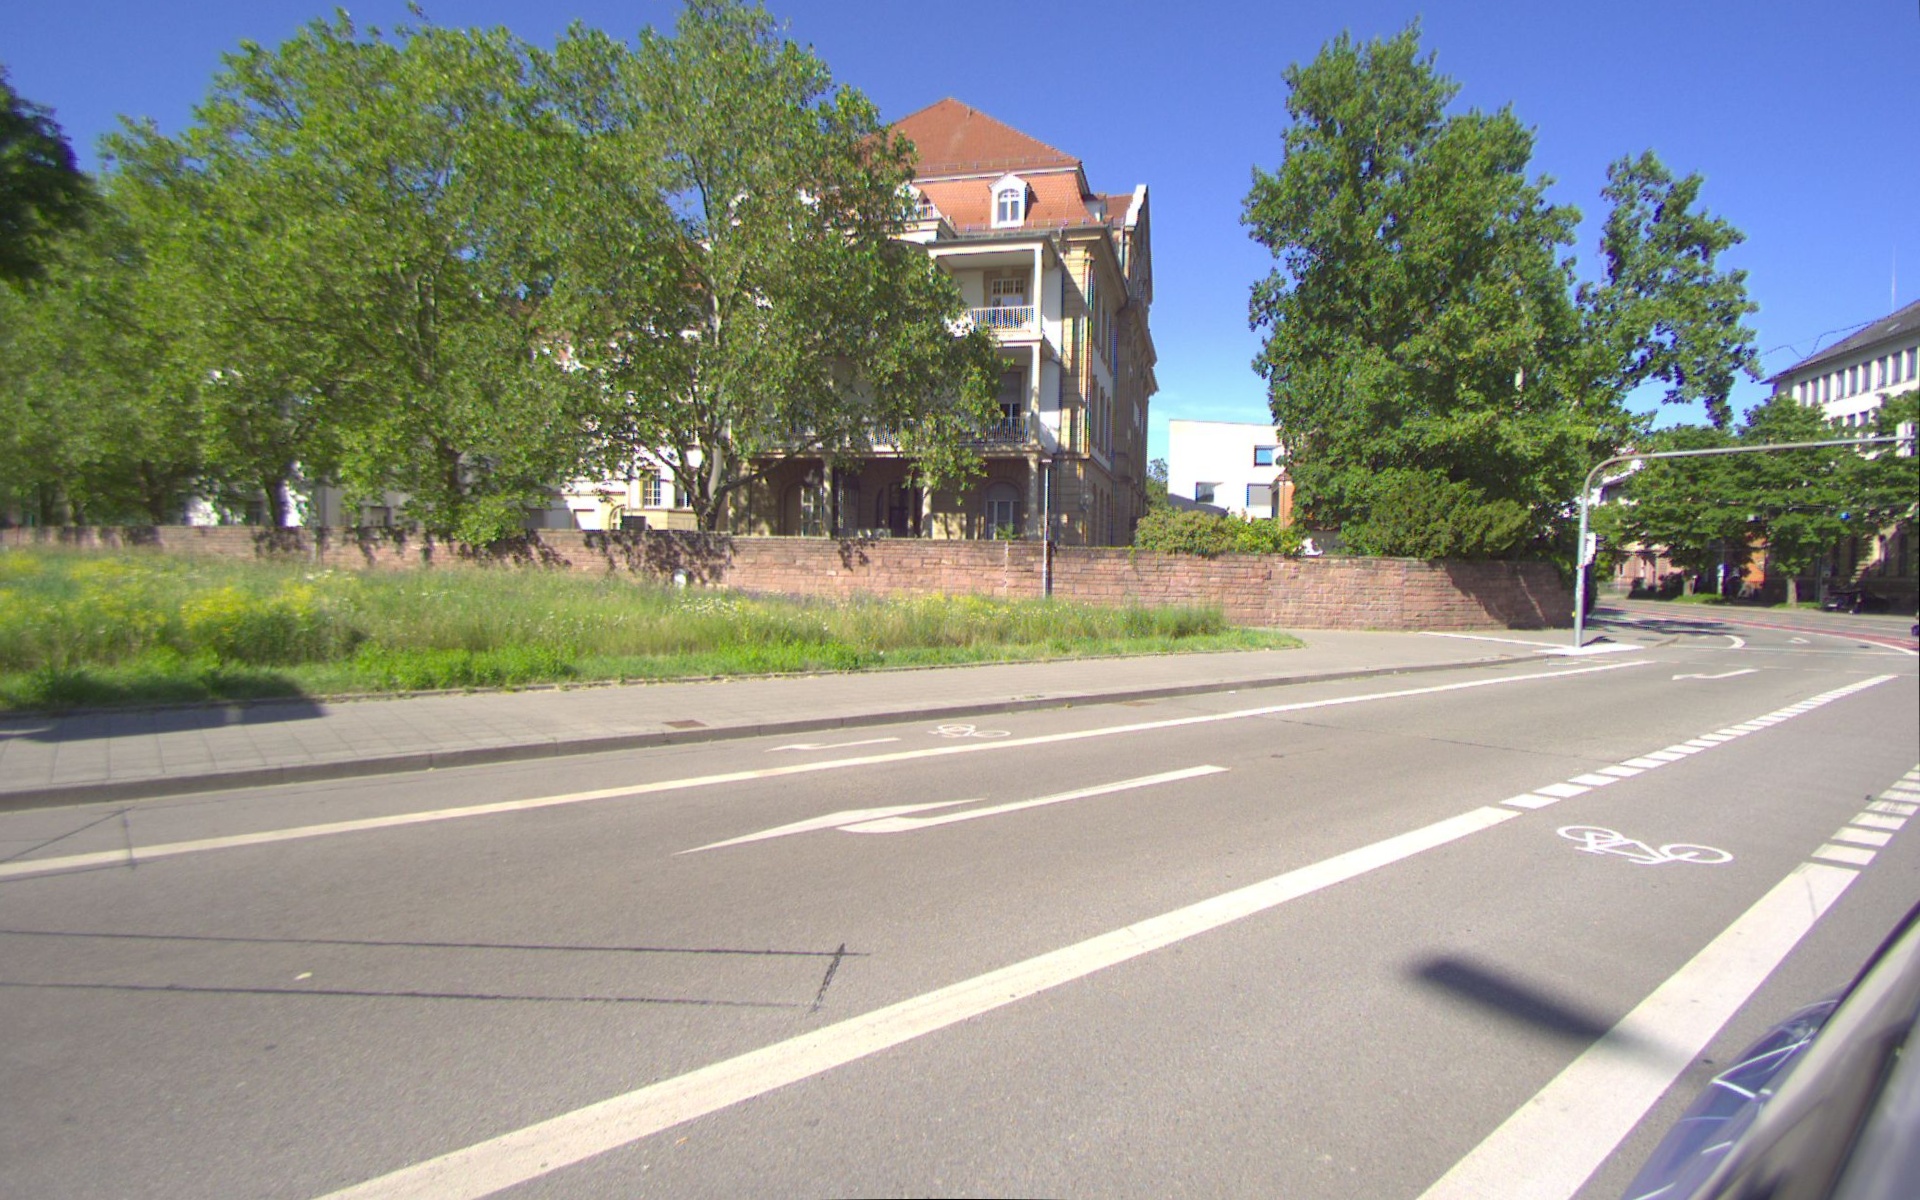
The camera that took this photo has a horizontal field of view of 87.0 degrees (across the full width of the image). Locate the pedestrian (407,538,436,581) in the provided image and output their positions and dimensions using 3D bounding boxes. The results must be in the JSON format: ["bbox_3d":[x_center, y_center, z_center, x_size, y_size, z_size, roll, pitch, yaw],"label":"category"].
[{"bbox_3d":[-18.532,-1.394,34.845,0.516,1.461,0.721,0,0,20],"label":"pedestrian"}]

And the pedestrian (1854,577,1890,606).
[{"bbox_3d":[59.516,-0.557,66.062,1.366,1.844,0.937,1,1,4],"label":"pedestrian"}]

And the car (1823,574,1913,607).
[{"bbox_3d":[61.206,-0.647,68.251,4.615,2.038,2.004,1,2,-9],"label":"car"}]
